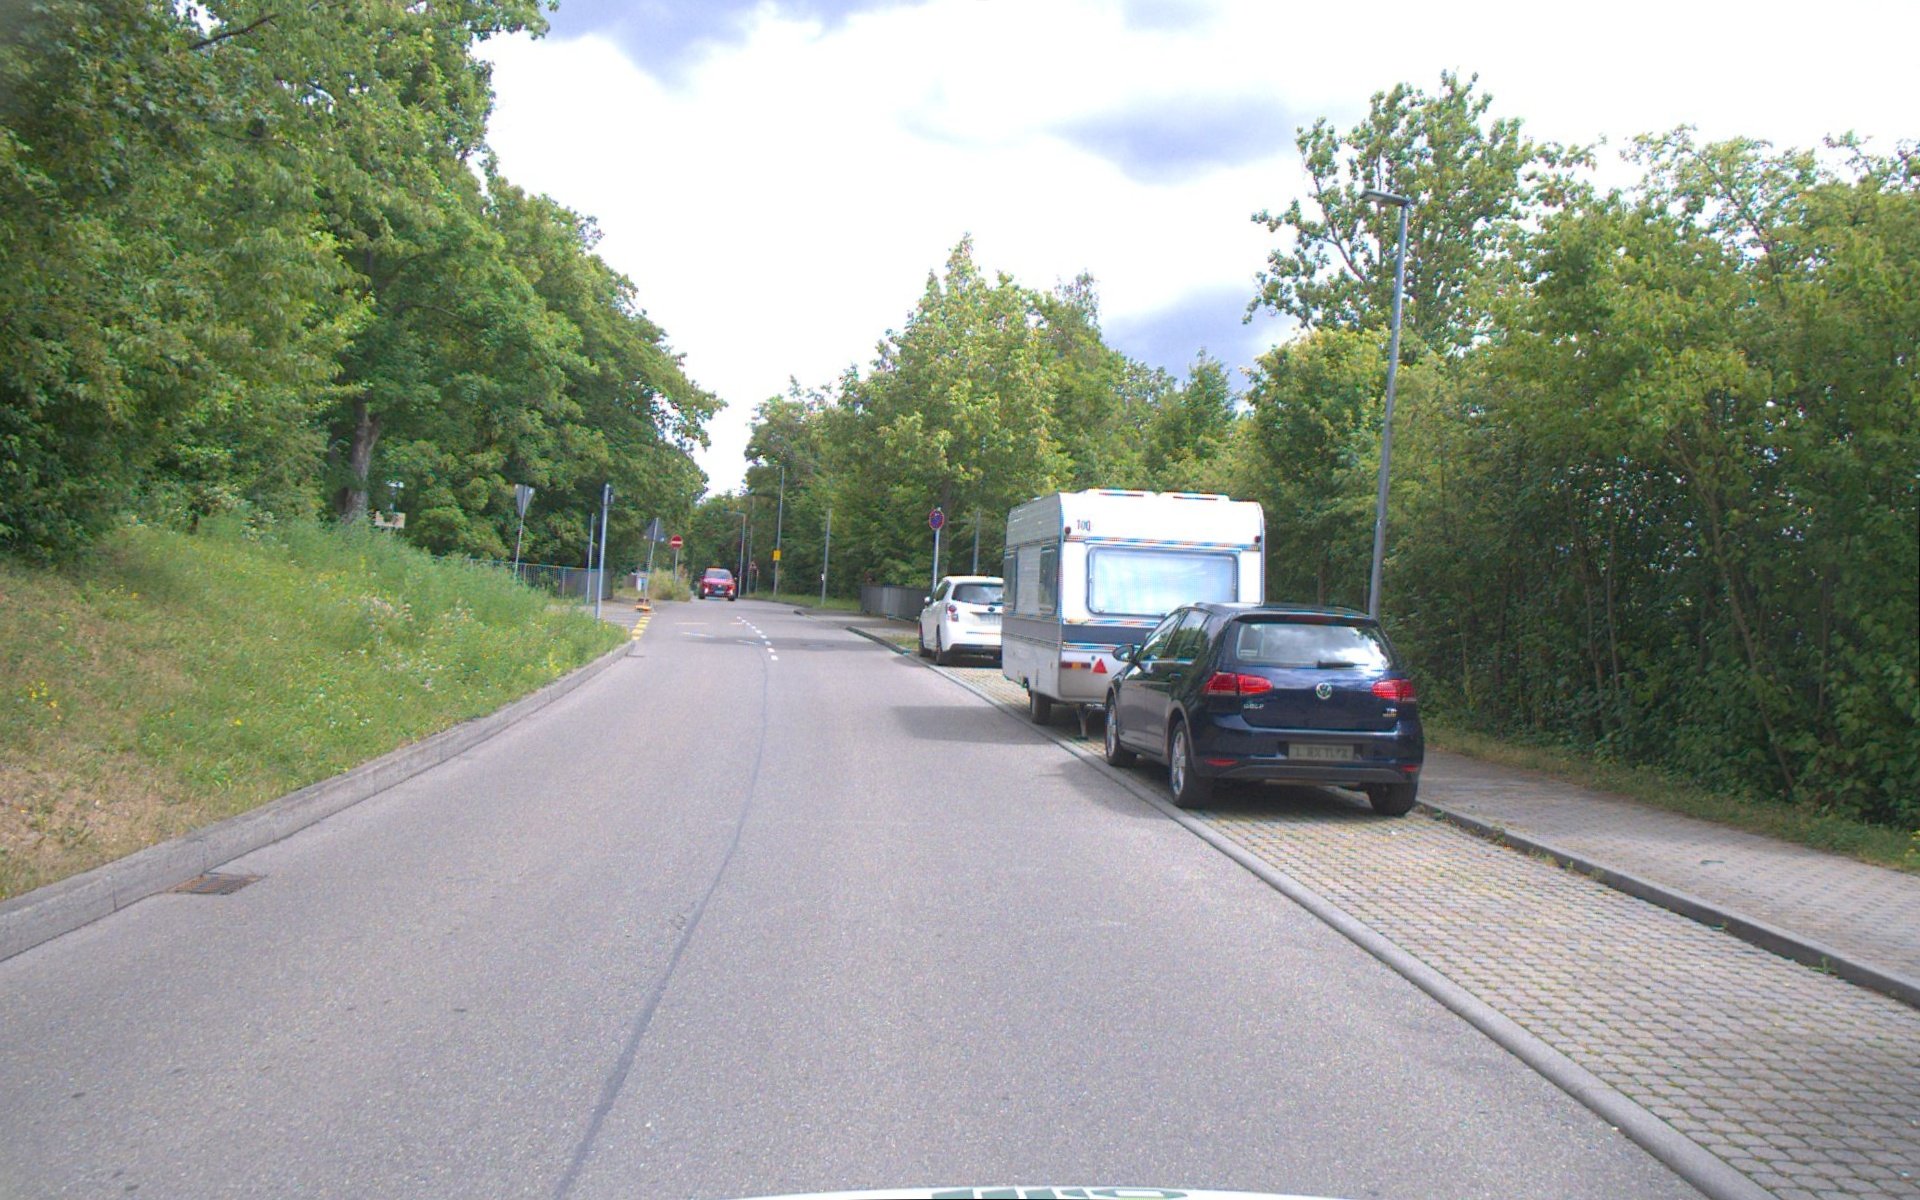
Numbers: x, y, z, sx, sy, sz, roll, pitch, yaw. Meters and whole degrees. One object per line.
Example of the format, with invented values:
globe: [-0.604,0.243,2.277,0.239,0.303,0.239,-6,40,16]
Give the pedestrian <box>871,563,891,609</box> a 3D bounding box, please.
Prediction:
pedestrian: [-3.262,-0.573,68.394,0.574,1.814,0.683,3,-2,9]

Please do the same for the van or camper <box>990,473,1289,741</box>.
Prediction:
van or camper: [1.836,0.059,18.919,2.309,2.598,5.067,2,0,-6]

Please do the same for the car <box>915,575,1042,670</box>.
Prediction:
car: [0.283,0.373,31.821,1.771,1.627,4.364,2,1,-8]

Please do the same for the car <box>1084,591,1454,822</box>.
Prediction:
car: [2.251,0.709,13.321,1.650,1.476,4.474,3,0,-6]

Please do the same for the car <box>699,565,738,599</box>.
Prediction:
car: [-13.072,-0.979,89.244,1.810,1.687,4.210,3,1,-11]
